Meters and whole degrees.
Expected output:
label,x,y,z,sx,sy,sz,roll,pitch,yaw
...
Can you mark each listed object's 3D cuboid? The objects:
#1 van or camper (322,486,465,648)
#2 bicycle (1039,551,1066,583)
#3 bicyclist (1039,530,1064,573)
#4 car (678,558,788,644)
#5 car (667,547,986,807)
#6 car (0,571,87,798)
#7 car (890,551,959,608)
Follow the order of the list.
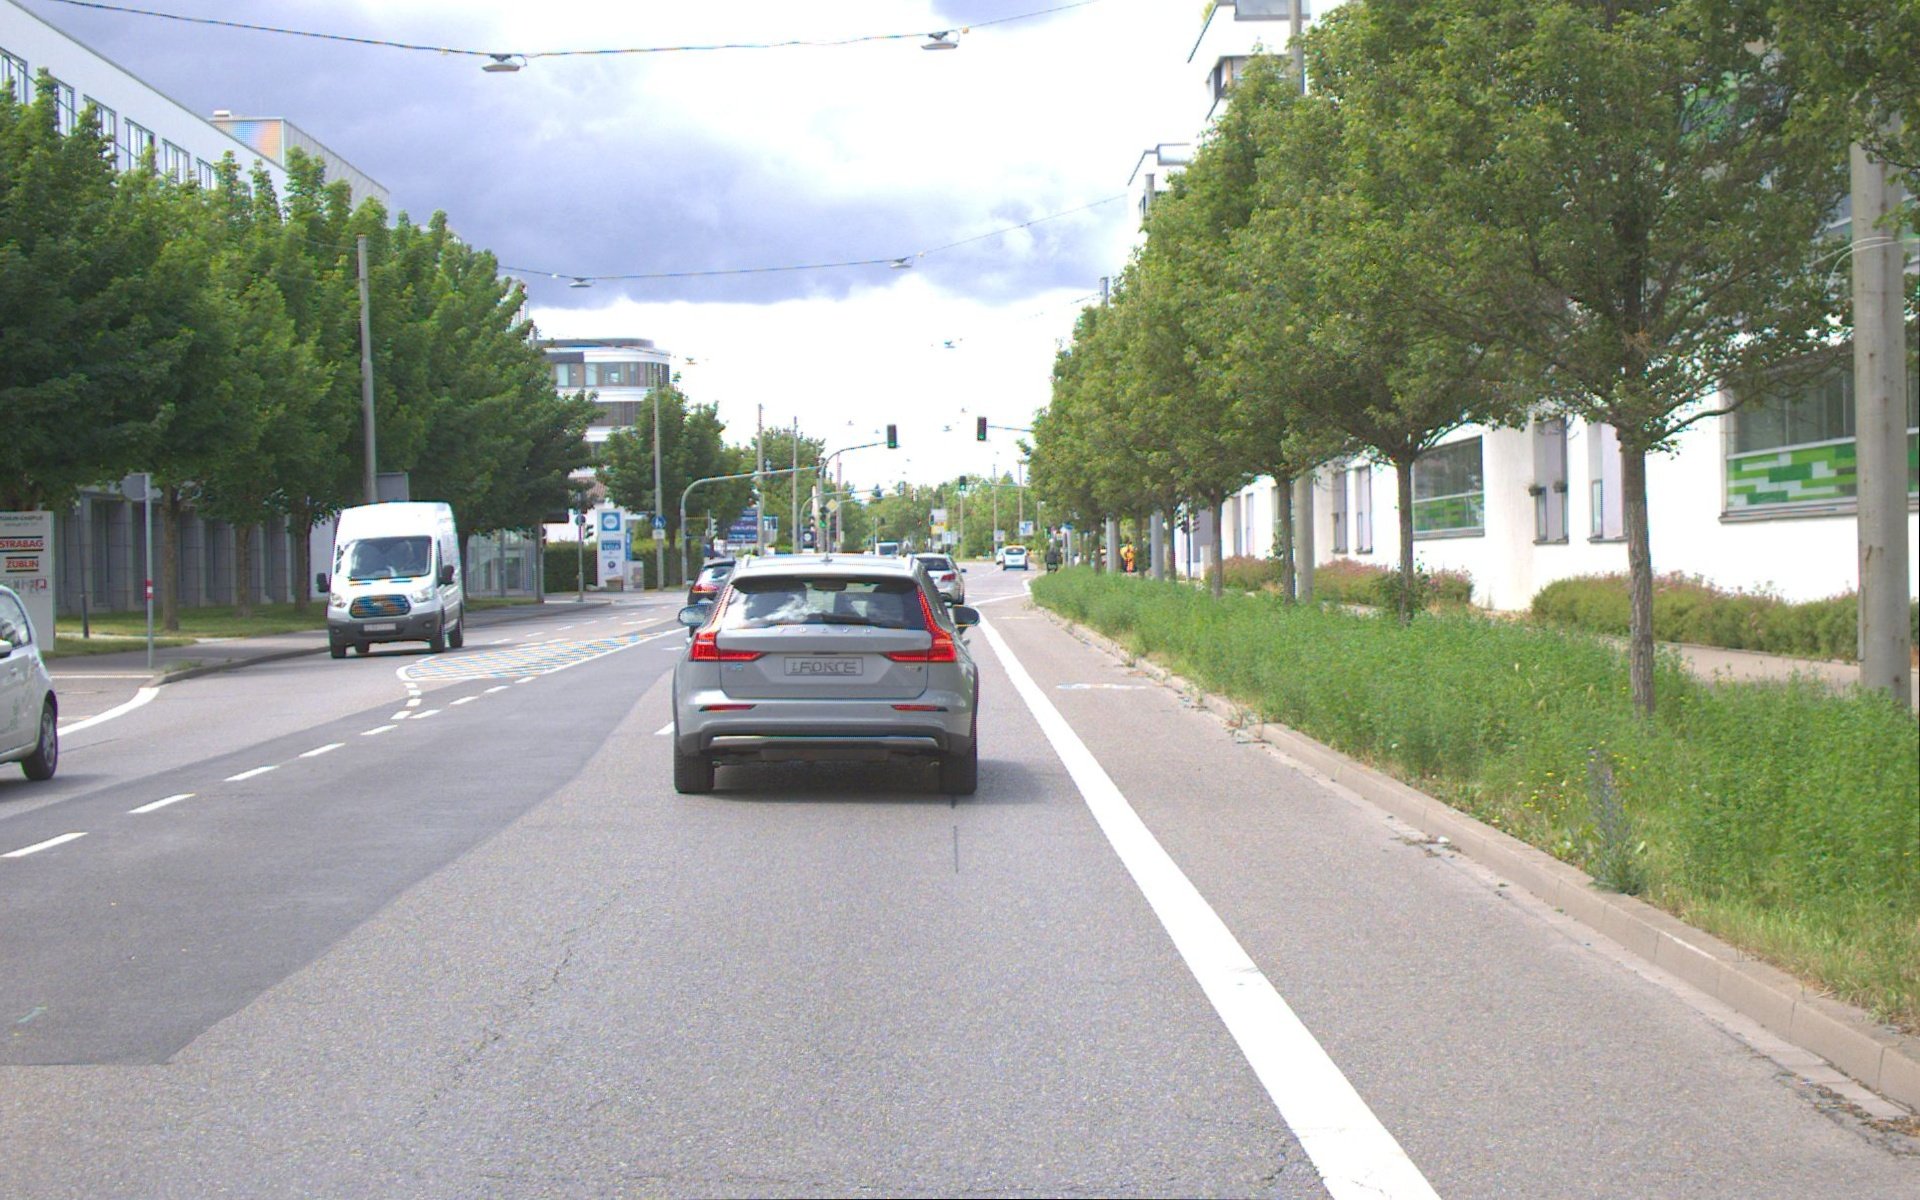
label,x,y,z,sx,sy,sz,roll,pitch,yaw
van or camper,-10.204,-0.619,62.330,1.993,2.724,6.054,-2,1,-5
bicycle,4.354,-1.539,161.610,1.067,1.448,2.978,-2,1,-1
bicyclist,4.307,-2.277,161.679,1.014,2.007,1.131,-2,1,-1
car,-4.186,-0.008,63.974,1.854,1.508,4.000,0,1,-1
car,-0.888,0.419,21.991,1.854,1.508,4.001,0,1,-3
car,-7.344,0.593,23.689,1.661,1.510,4.000,-1,1,-1
car,-1.002,-0.589,95.141,1.845,1.508,4.000,0,1,-1
